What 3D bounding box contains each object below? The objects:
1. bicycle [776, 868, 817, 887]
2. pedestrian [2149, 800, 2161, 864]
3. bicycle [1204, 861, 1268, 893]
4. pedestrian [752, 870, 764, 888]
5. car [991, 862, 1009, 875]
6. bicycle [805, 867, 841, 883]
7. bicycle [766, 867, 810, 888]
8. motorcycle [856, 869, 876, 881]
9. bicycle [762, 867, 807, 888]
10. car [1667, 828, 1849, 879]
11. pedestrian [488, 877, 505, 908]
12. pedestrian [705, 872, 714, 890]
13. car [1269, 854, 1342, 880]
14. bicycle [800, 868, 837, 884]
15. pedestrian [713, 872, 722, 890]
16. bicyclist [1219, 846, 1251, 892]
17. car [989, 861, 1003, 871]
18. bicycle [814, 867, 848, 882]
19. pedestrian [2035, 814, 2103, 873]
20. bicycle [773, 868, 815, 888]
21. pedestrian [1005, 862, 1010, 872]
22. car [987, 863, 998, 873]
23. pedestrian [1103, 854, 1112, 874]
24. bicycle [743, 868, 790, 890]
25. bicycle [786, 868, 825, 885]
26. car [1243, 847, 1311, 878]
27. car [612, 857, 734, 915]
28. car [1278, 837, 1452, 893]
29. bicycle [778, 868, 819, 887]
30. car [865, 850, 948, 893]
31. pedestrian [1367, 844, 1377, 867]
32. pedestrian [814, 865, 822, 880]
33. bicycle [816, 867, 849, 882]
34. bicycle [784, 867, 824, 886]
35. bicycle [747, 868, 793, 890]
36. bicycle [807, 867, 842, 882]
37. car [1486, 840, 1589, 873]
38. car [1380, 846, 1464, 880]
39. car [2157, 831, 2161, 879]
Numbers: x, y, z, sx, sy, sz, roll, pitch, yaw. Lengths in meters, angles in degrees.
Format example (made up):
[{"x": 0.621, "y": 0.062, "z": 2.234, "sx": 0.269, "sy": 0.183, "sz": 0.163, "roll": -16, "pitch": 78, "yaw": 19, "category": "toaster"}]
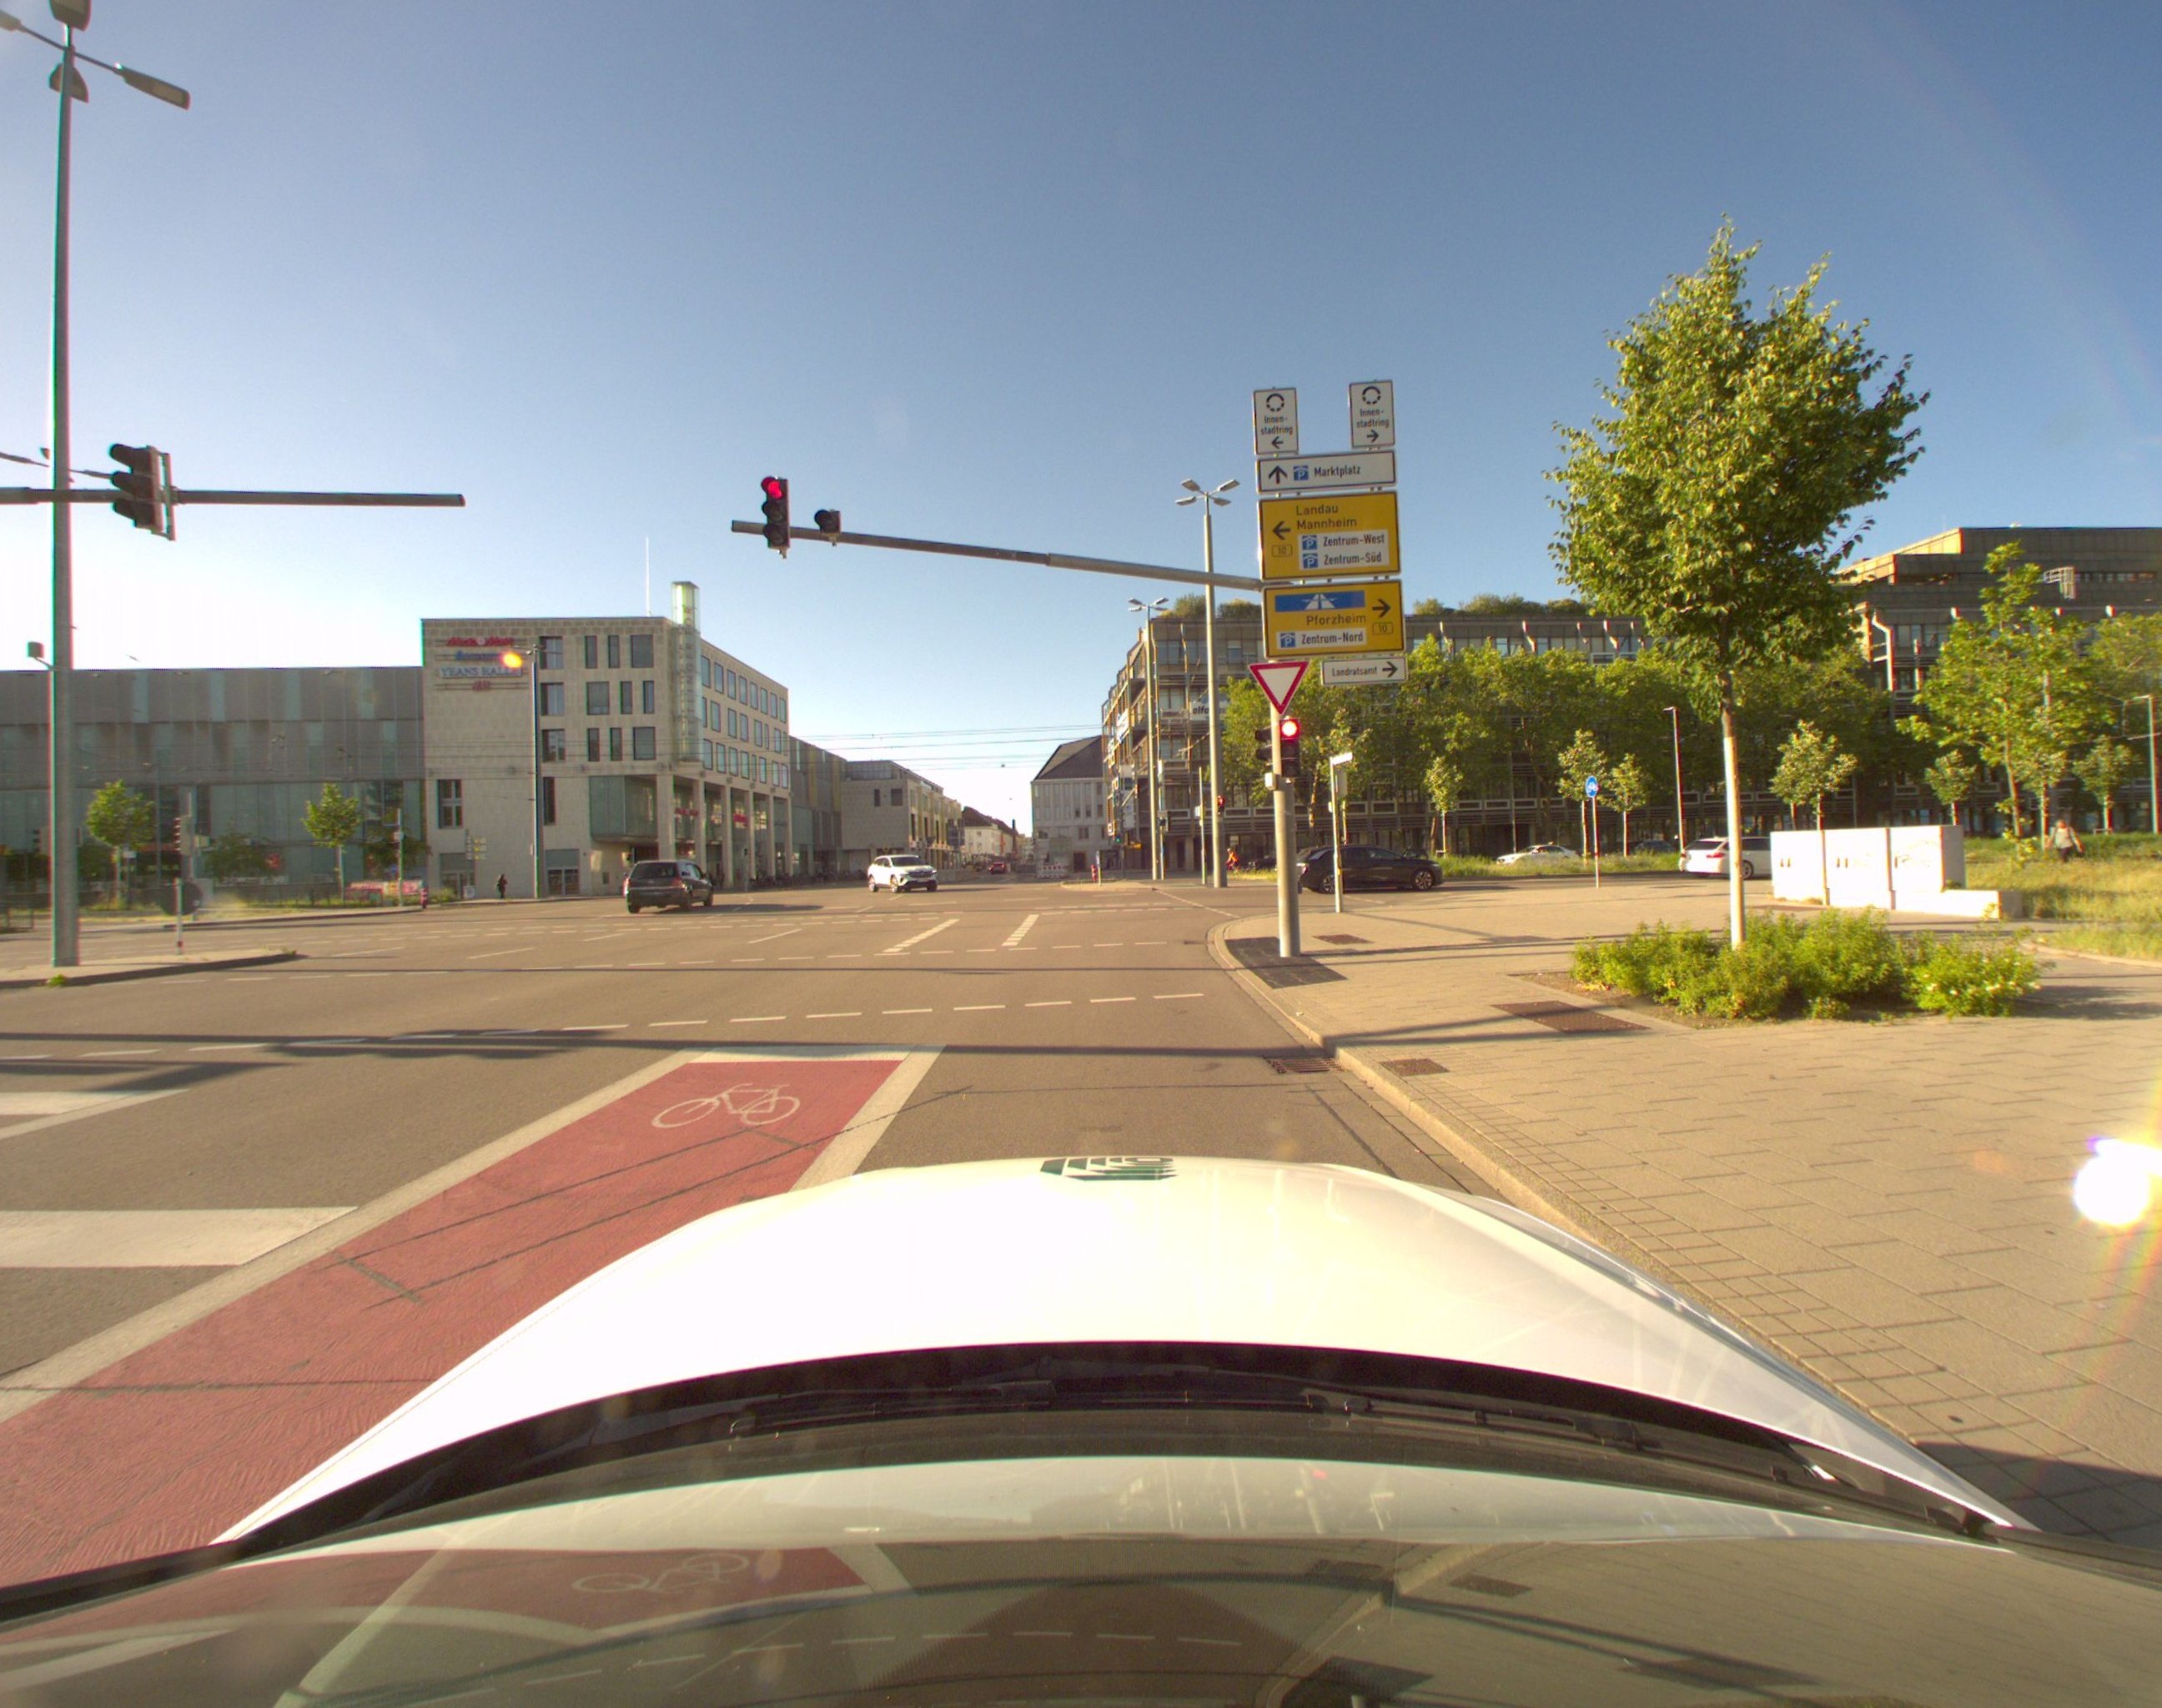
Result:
[{"x": -26.854, "y": 2.206, "z": 76.850, "sx": 3.491, "sy": 1.696, "sz": 0.984, "roll": -2, "pitch": 0, "yaw": -10, "category": "bicycle"}, {"x": 29.373, "y": -0.610, "z": 21.653, "sx": 0.694, "sy": 1.728, "sz": 0.939, "roll": -2, "pitch": 0, "yaw": -12, "category": "pedestrian"}, {"x": 8.930, "y": 1.317, "z": 47.061, "sx": 3.488, "sy": 1.659, "sz": 0.929, "roll": -2, "pitch": 0, "yaw": -7, "category": "bicycle"}, {"x": -30.428, "y": 2.337, "z": 76.701, "sx": 0.783, "sy": 1.642, "sz": 0.693, "roll": -2, "pitch": 0, "yaw": -6, "category": "pedestrian"}, {"x": -10.791, "y": 1.889, "z": 108.854, "sx": 2.195, "sy": 1.607, "sz": 4.320, "roll": -2, "pitch": 0, "yaw": -4, "category": "car"}, {"x": -27.652, "y": 2.219, "z": 87.442, "sx": 3.491, "sy": 1.527, "sz": 0.984, "roll": -2, "pitch": 0, "yaw": -10, "category": "bicycle"}, {"x": -26.318, "y": 2.122, "z": 73.167, "sx": 3.488, "sy": 1.696, "sz": 1.114, "roll": -2, "pitch": 0, "yaw": -7, "category": "bicycle"}, {"x": -26.092, "y": 2.507, "z": 98.811, "sx": 2.269, "sy": 1.318, "sz": 0.719, "roll": -2, "pitch": 0, "yaw": -4, "category": "motorcycle"}, {"x": -26.142, "y": 2.076, "z": 71.947, "sx": 3.488, "sy": 1.696, "sz": 1.114, "roll": -2, "pitch": 0, "yaw": -7, "category": "bicycle"}, {"x": 22.964, "y": -0.013, "z": 27.734, "sx": 4.677, "sy": 1.528, "sz": 1.997, "roll": -2, "pitch": 0, "yaw": -4, "category": "car"}, {"x": -32.926, "y": 2.146, "z": 45.869, "sx": 0.523, "sy": 1.694, "sz": 0.548, "roll": -2, "pitch": 0, "yaw": 2, "category": "pedestrian"}, {"x": -32.465, "y": 2.382, "z": 71.116, "sx": 0.510, "sy": 1.510, "sz": 0.513, "roll": -2, "pitch": 0, "yaw": -3, "category": "pedestrian"}, {"x": 13.855, "y": 0.784, "z": 50.469, "sx": 3.976, "sy": 1.508, "sz": 1.867, "roll": -1, "pitch": 0, "yaw": -2, "category": "car"}, {"x": -27.547, "y": 2.298, "z": 85.574, "sx": 3.491, "sy": 1.527, "sz": 0.984, "roll": -2, "pitch": 0, "yaw": -10, "category": "bicycle"}, {"x": -32.043, "y": 2.380, "z": 71.743, "sx": 0.480, "sy": 1.510, "sz": 0.513, "roll": -2, "pitch": 0, "yaw": -3, "category": "pedestrian"}, {"x": 8.889, "y": 0.857, "z": 47.064, "sx": 1.566, "sy": 2.580, "sz": 0.929, "roll": -2, "pitch": 0, "yaw": -7, "category": "bicyclist"}, {"x": -15.051, "y": 2.136, "z": 143.989, "sx": 1.988, "sy": 1.660, "sz": 4.402, "roll": -3, "pitch": -1, "yaw": -2, "category": "car"}, {"x": -28.172, "y": 2.299, "z": 91.741, "sx": 3.491, "sy": 1.527, "sz": 0.984, "roll": -2, "pitch": 0, "yaw": -10, "category": "bicycle"}, {"x": 28.473, "y": -0.291, "z": 23.479, "sx": 0.801, "sy": 1.630, "sz": 0.939, "roll": -2, "pitch": 0, "yaw": -12, "category": "pedestrian"}, {"x": -26.678, "y": 2.187, "z": 75.754, "sx": 3.491, "sy": 1.696, "sz": 0.984, "roll": -2, "pitch": 0, "yaw": -10, "category": "bicycle"}, {"x": -9.772, "y": 1.724, "z": 108.943, "sx": 0.608, "sy": 1.411, "sz": 0.569, "roll": -2, "pitch": 0, "yaw": -5, "category": "pedestrian"}, {"x": -17.936, "y": 2.825, "z": 164.707, "sx": 1.752, "sy": 1.783, "sz": 3.997, "roll": -2, "pitch": 0, "yaw": -2, "category": "car"}, {"x": 2.273, "y": 0.832, "z": 69.549, "sx": 0.661, "sy": 1.658, "sz": 0.755, "roll": -2, "pitch": 0, "yaw": -1, "category": "pedestrian"}, {"x": -26.729, "y": 2.103, "z": 69.286, "sx": 3.488, "sy": 1.696, "sz": 1.114, "roll": -2, "pitch": 0, "yaw": -7, "category": "bicycle"}, {"x": -27.408, "y": 2.233, "z": 81.152, "sx": 3.491, "sy": 1.527, "sz": 0.984, "roll": -2, "pitch": 0, "yaw": -10, "category": "bicycle"}, {"x": 12.843, "y": 0.562, "z": 53.617, "sx": 3.975, "sy": 2.014, "sz": 1.999, "roll": 0, "pitch": -1, "yaw": -1, "category": "car"}, {"x": -13.005, "y": 0.958, "z": 26.329, "sx": 1.991, "sy": 1.607, "sz": 4.472, "roll": -2, "pitch": 0, "yaw": -6, "category": "car"}, {"x": 9.062, "y": 0.319, "z": 26.310, "sx": 4.923, "sy": 1.601, "sz": 1.999, "roll": -2, "pitch": 1, "yaw": -1, "category": "car"}, {"x": -27.042, "y": 2.217, "z": 78.059, "sx": 3.491, "sy": 1.696, "sz": 0.984, "roll": -2, "pitch": 0, "yaw": -10, "category": "bicycle"}, {"x": -7.610, "y": 0.706, "z": 35.177, "sx": 2.008, "sy": 1.660, "sz": 4.360, "roll": -2, "pitch": 1, "yaw": -33, "category": "car"}, {"x": 21.796, "y": 0.096, "z": 61.012, "sx": 0.538, "sy": 1.669, "sz": 0.537, "roll": -2, "pitch": 0, "yaw": -1, "category": "pedestrian"}, {"x": -30.082, "y": 2.142, "z": 93.082, "sx": 0.652, "sy": 1.642, "sz": 0.693, "roll": -2, "pitch": 0, "yaw": -7, "category": "pedestrian"}, {"x": -28.289, "y": 2.336, "z": 92.771, "sx": 3.491, "sy": 1.527, "sz": 0.984, "roll": -2, "pitch": 0, "yaw": -10, "category": "bicycle"}, {"x": -27.247, "y": 2.241, "z": 80.155, "sx": 3.491, "sy": 1.696, "sz": 0.984, "roll": -2, "pitch": 0, "yaw": -10, "category": "bicycle"}, {"x": -26.909, "y": 2.148, "z": 70.503, "sx": 3.488, "sy": 1.696, "sz": 1.114, "roll": -2, "pitch": 0, "yaw": -7, "category": "bicycle"}, {"x": -27.921, "y": 2.219, "z": 88.571, "sx": 3.491, "sy": 1.527, "sz": 0.984, "roll": -2, "pitch": 0, "yaw": -10, "category": "bicycle"}, {"x": 28.896, "y": 0.144, "z": 51.648, "sx": 5.424, "sy": 2.014, "sz": 2.097, "roll": 0, "pitch": -1, "yaw": -1, "category": "car"}, {"x": 21.409, "y": 0.562, "z": 51.241, "sx": 4.435, "sy": 2.014, "sz": 1.998, "roll": 0, "pitch": -1, "yaw": -4, "category": "car"}, {"x": 42.198, "y": -0.017, "z": 29.426, "sx": 4.466, "sy": 1.758, "sz": 1.996, "roll": -2, "pitch": 2, "yaw": -6, "category": "car"}]
